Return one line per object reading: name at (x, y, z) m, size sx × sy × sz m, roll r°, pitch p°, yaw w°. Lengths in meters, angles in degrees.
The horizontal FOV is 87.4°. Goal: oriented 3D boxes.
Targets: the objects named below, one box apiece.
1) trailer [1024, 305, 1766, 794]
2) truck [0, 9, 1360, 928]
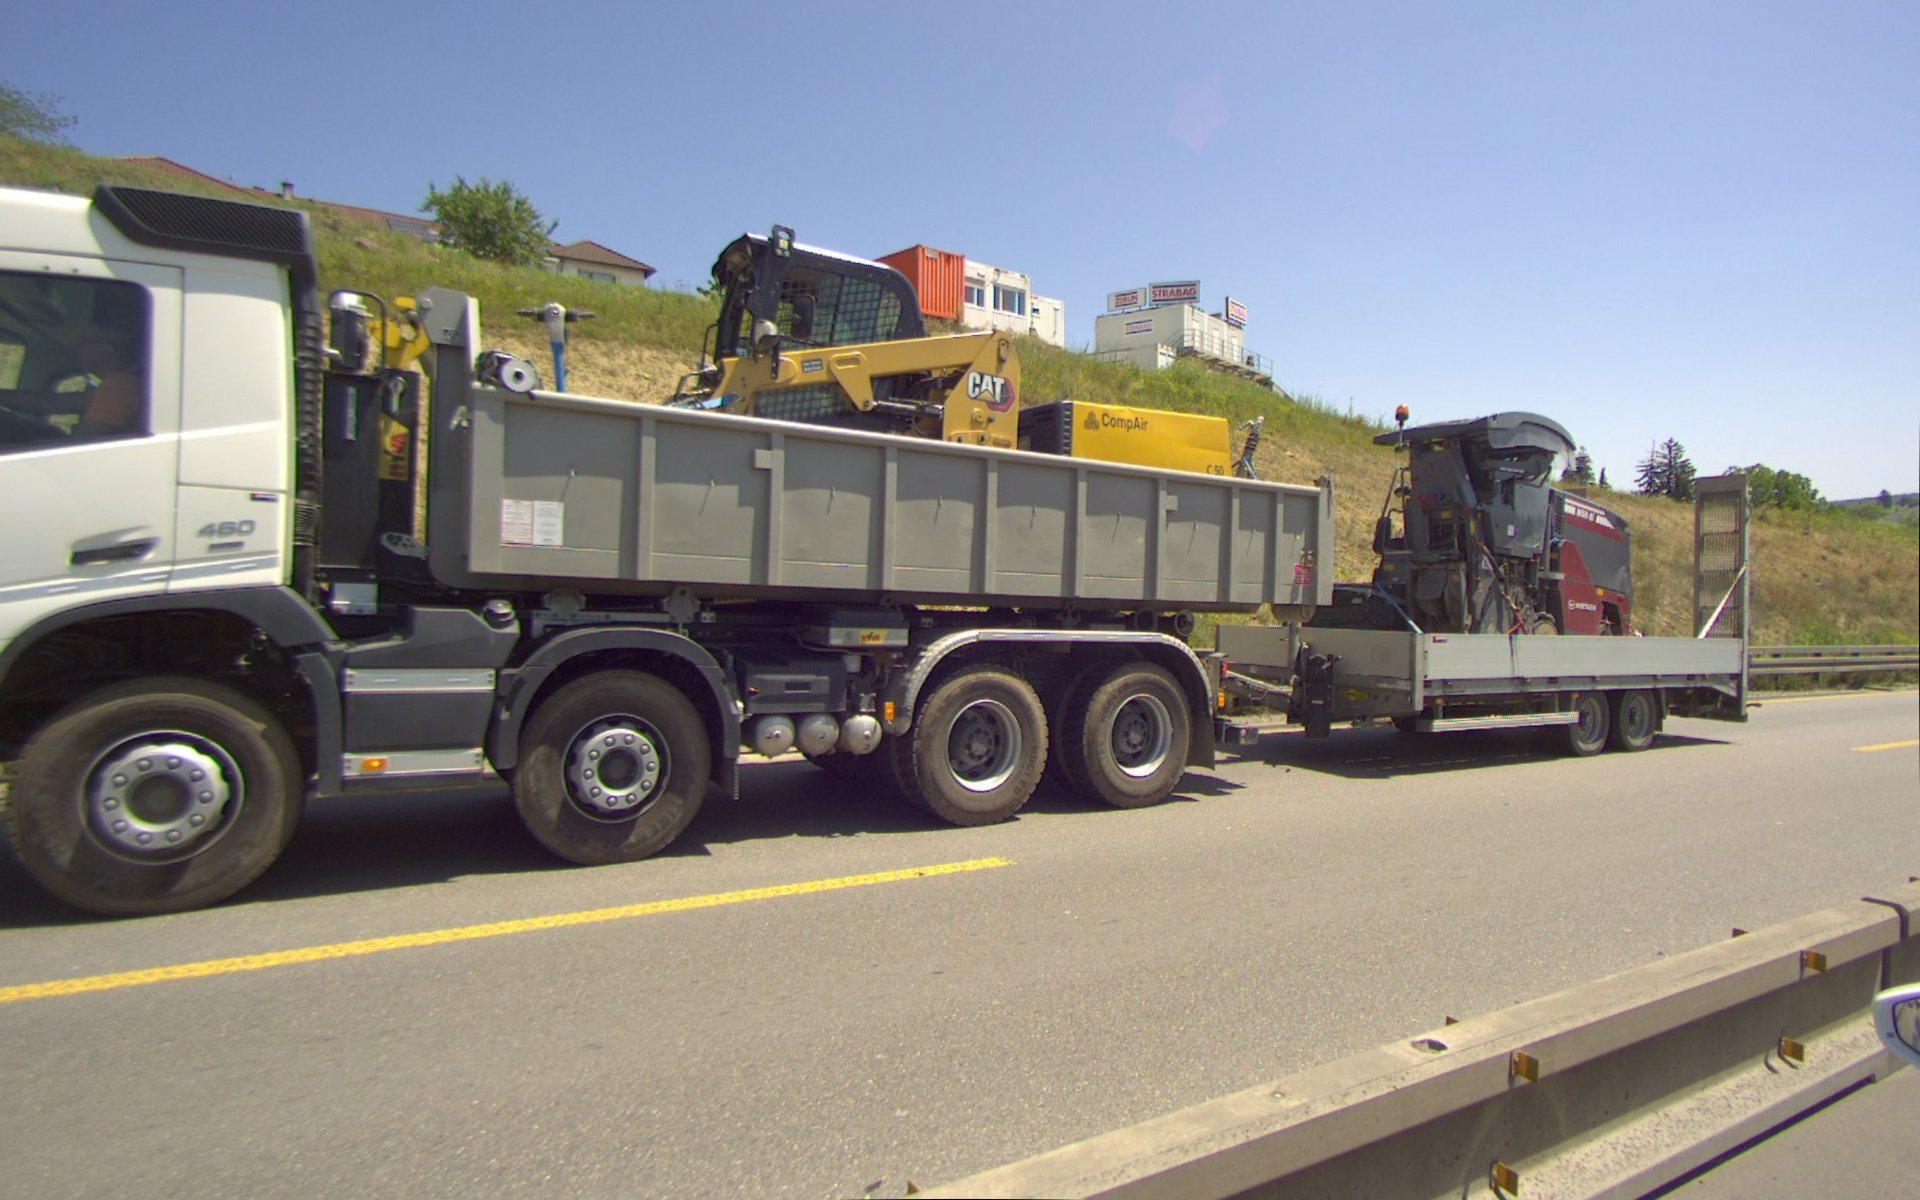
trailer at (5.162, -0.308, 10.955) m, size 8.971 × 3.685 × 2.575 m, roll 1°, pitch 0°, yaw -30°
truck at (-1.323, -0.477, 7.149) m, size 9.222 × 3.773 × 2.575 m, roll 1°, pitch 0°, yaw -30°
